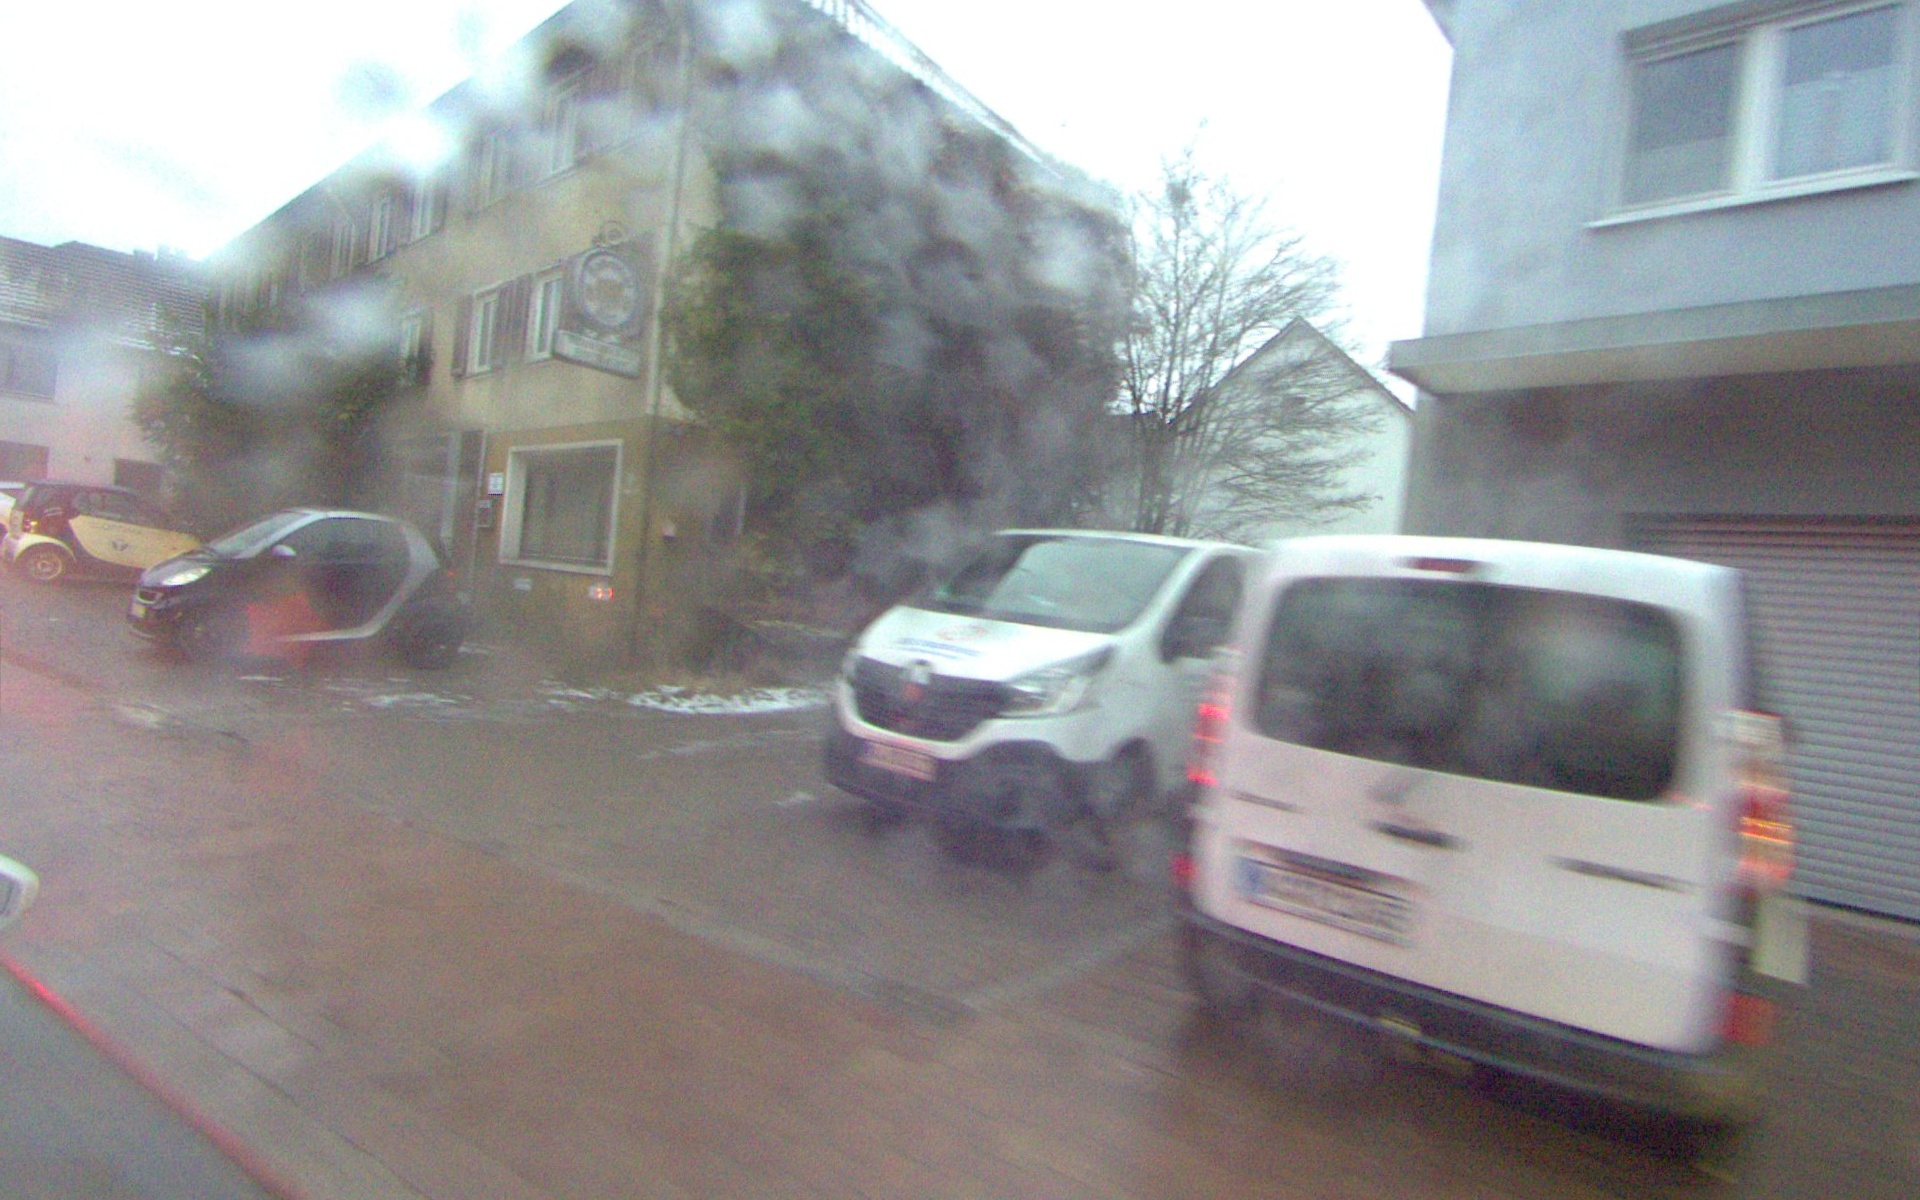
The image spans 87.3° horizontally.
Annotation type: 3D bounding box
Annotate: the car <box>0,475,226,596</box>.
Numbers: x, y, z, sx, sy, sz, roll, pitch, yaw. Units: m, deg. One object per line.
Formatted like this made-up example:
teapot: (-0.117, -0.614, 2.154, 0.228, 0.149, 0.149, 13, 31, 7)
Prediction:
car: (-13.532, -0.999, 16.046, 1.528, 1.567, 2.579, 8, 2, 39)

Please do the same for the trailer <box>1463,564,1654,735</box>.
trailer: (10.442, 0.762, 17.440, 1.815, 2.553, 3.971, 6, 4, 44)

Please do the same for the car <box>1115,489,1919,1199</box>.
car: (2.484, 0.729, 4.485, 1.834, 1.867, 4.040, 6, 2, 34)

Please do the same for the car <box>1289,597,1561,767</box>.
car: (5.960, 0.930, 12.656, 1.855, 1.644, 3.974, 7, 3, 43)

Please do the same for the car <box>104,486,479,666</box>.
car: (-6.554, -0.180, 10.026, 1.406, 1.493, 2.759, 7, 1, 39)

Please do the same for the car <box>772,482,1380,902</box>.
car: (1.240, 0.478, 7.235, 1.907, 1.914, 4.975, 8, 2, 37)

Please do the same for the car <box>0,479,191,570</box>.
car: (-18.401, -1.578, 20.618, 1.727, 1.493, 3.891, 7, 1, 42)
